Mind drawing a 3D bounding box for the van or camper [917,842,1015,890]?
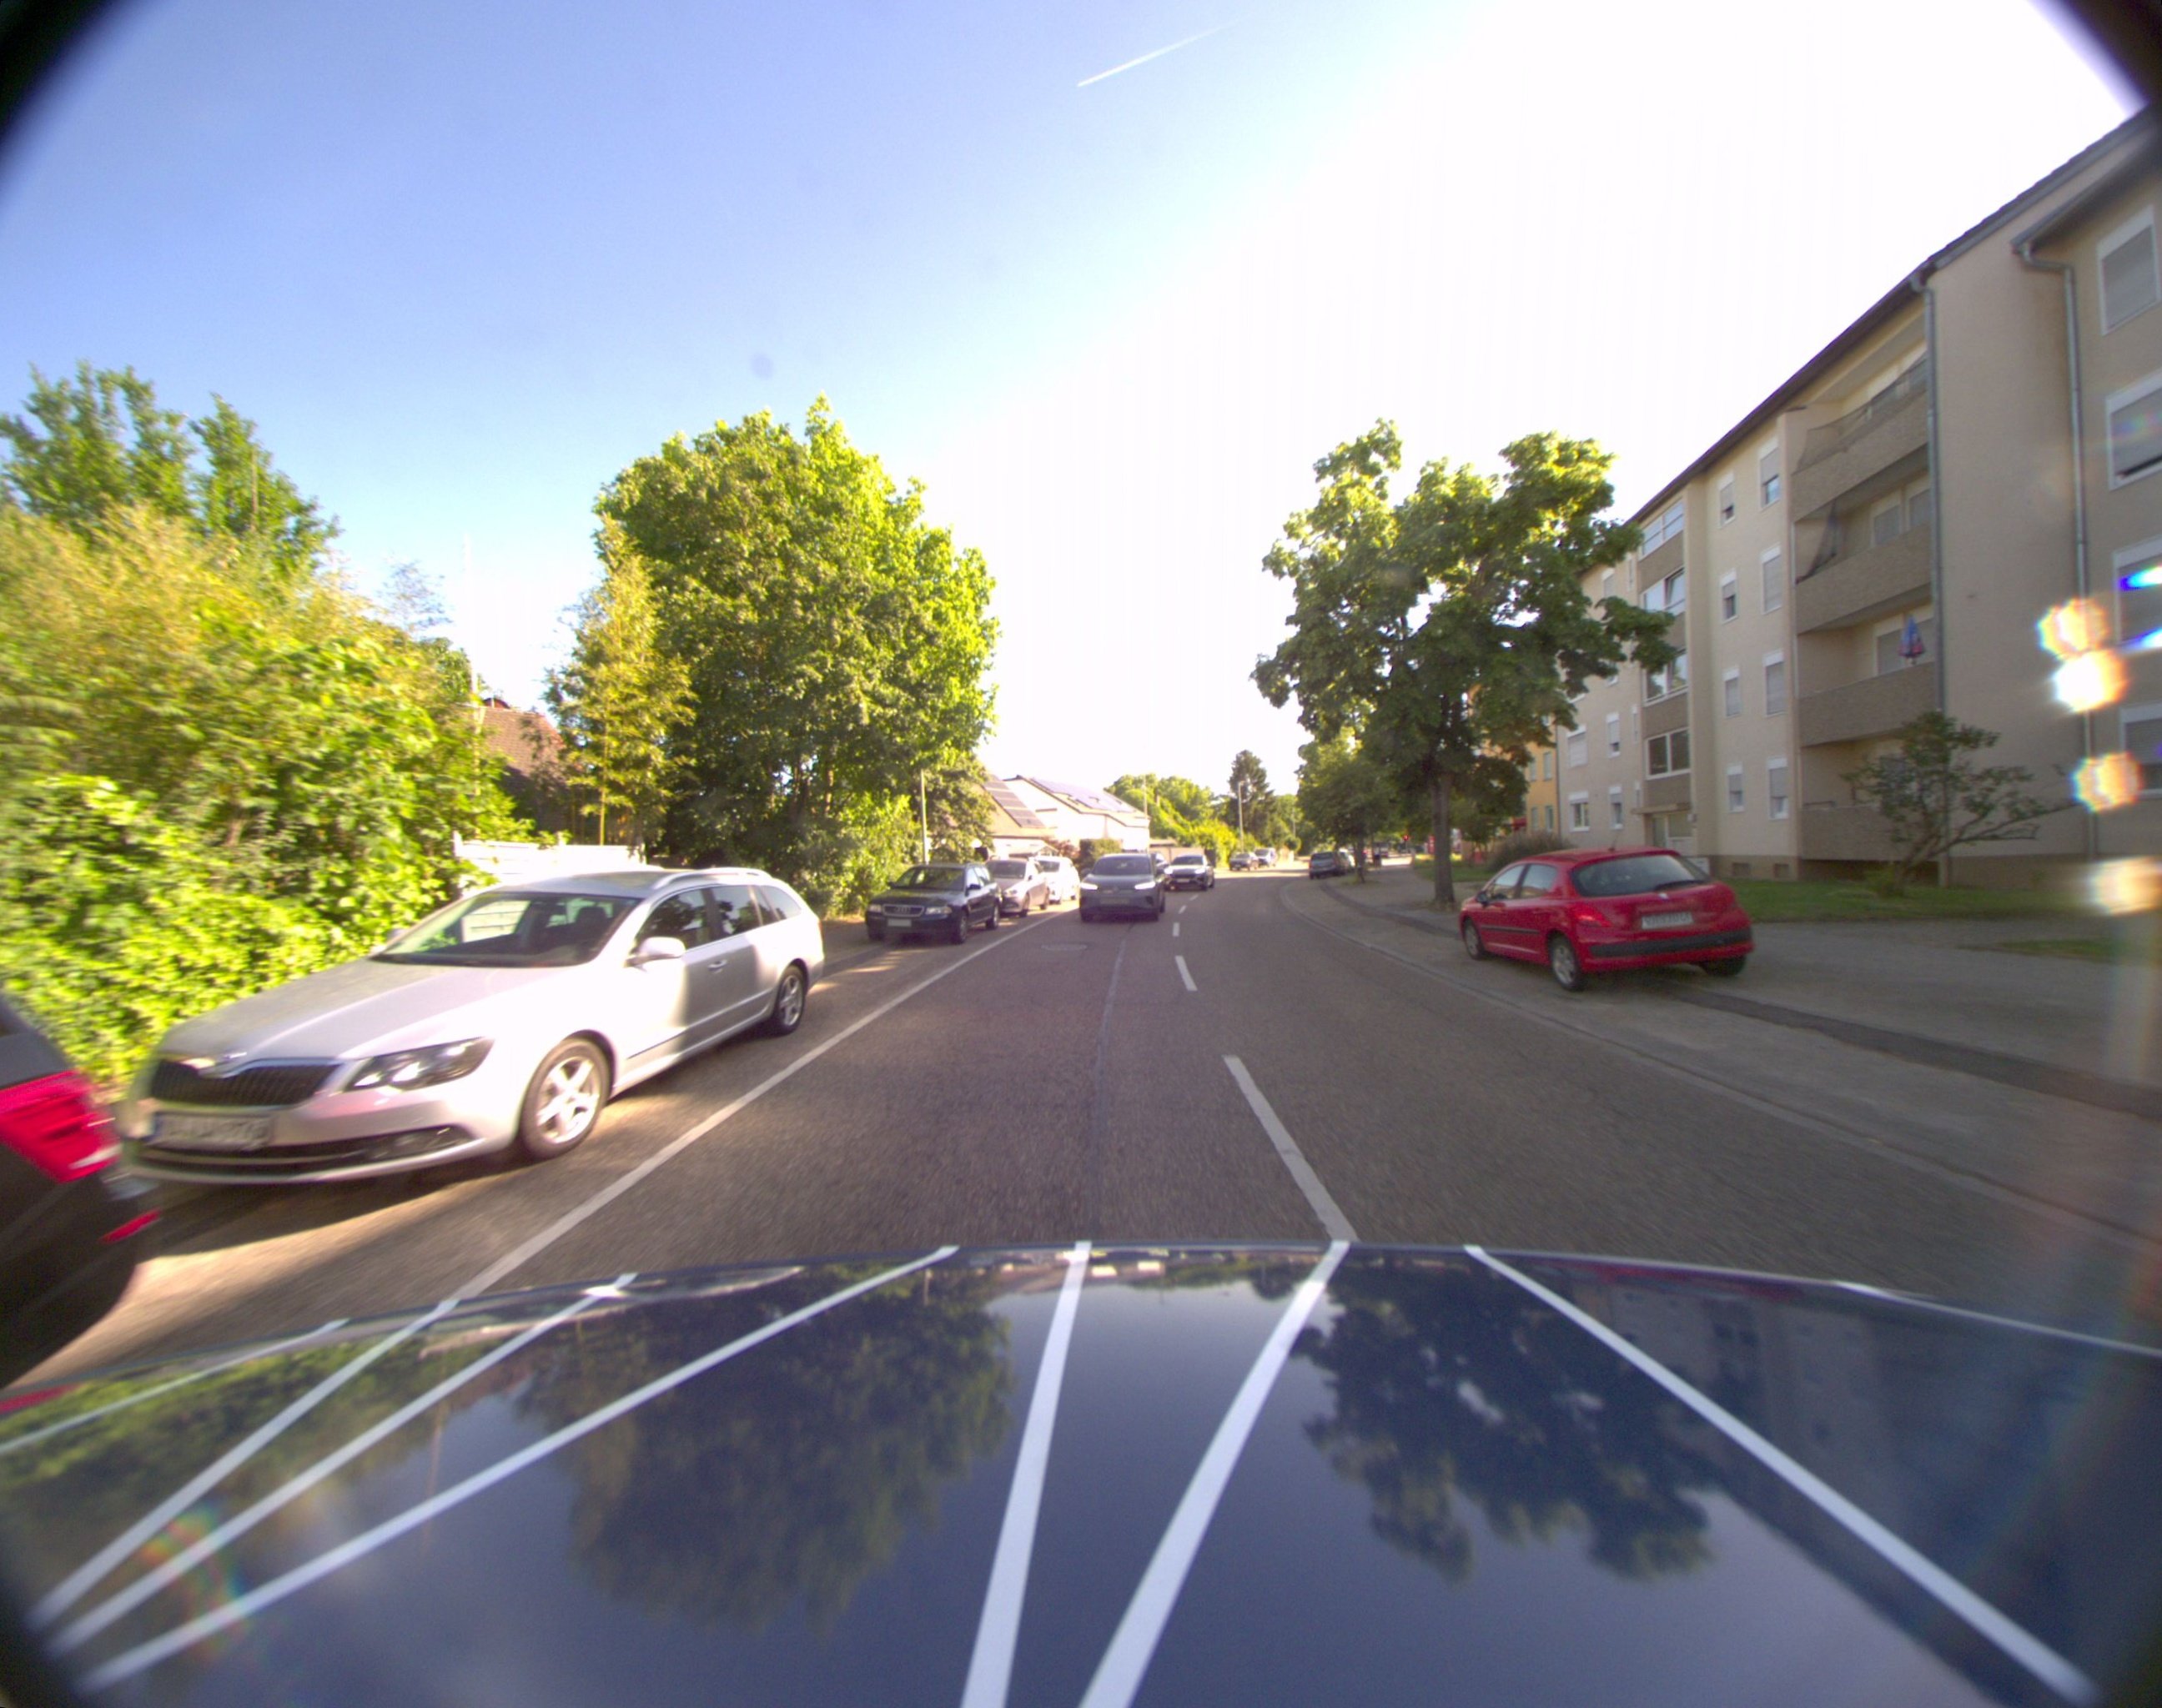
[{"bbox_3d":[-5.144,0.553,34.044,3.844,2.002,1.954,-2,0,25],"label":"van or camper"}]

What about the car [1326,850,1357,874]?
[{"bbox_3d":[17.710,0.506,51.559,1.649,1.530,3.710,-2,0,24],"label":"car"}]

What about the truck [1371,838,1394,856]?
[{"bbox_3d":[41.864,-0.920,105.452,2.409,2.353,4.534,-2,0,27],"label":"truck"}]

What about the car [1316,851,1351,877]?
[{"bbox_3d":[15.714,0.591,47.220,1.649,1.530,3.710,-2,0,24],"label":"car"}]

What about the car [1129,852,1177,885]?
[{"bbox_3d":[4.012,0.741,41.979,1.774,1.727,3.709,1,1,20],"label":"car"}]

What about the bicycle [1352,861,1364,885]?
[{"bbox_3d":[11.589,0.787,31.783,0.357,1.001,1.201,-3,-1,16],"label":"bicycle"}]

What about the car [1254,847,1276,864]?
[{"bbox_3d":[18.111,0.162,74.681,1.638,1.568,3.709,-2,0,20],"label":"car"}]

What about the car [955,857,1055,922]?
[{"bbox_3d":[-1.965,0.882,20.853,1.722,1.565,4.003,1,0,9],"label":"car"}]

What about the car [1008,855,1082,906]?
[{"bbox_3d":[-1.124,0.820,25.635,1.635,1.565,3.707,1,0,11],"label":"car"}]

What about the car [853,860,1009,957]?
[{"bbox_3d":[-2.756,0.942,15.047,1.657,1.554,4.467,-2,0,7],"label":"car"}]

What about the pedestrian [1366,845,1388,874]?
[{"bbox_3d":[16.781,0.313,43.043,0.959,1.619,0.734,-2,1,36],"label":"pedestrian"}]

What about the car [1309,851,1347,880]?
[{"bbox_3d":[14.015,0.613,43.042,1.649,1.530,3.710,-2,0,24],"label":"car"}]

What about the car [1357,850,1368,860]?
[{"bbox_3d":[42.909,0.196,115.988,1.545,1.456,3.709,-2,0,20],"label":"car"}]

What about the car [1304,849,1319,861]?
[{"bbox_3d":[31.383,0.085,103.378,1.638,1.568,3.709,-2,0,20],"label":"car"}]

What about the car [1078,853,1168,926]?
[{"bbox_3d":[1.166,0.831,19.165,1.776,1.624,3.707,-2,0,10],"label":"car"}]

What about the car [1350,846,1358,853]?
[{"bbox_3d":[59.927,-0.996,166.599,1.545,1.456,3.709,-2,0,20],"label":"car"}]

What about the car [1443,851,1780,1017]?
[{"bbox_3d":[6.102,0.786,9.378,1.660,1.485,3.910,-6,0,7],"label":"car"}]

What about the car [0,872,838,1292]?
[{"bbox_3d":[-3.527,0.997,5.405,1.767,1.554,4.663,-2,0,4],"label":"car"}]

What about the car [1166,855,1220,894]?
[{"bbox_3d":[4.927,0.851,33.049,1.578,1.568,3.709,-2,0,20],"label":"car"}]
